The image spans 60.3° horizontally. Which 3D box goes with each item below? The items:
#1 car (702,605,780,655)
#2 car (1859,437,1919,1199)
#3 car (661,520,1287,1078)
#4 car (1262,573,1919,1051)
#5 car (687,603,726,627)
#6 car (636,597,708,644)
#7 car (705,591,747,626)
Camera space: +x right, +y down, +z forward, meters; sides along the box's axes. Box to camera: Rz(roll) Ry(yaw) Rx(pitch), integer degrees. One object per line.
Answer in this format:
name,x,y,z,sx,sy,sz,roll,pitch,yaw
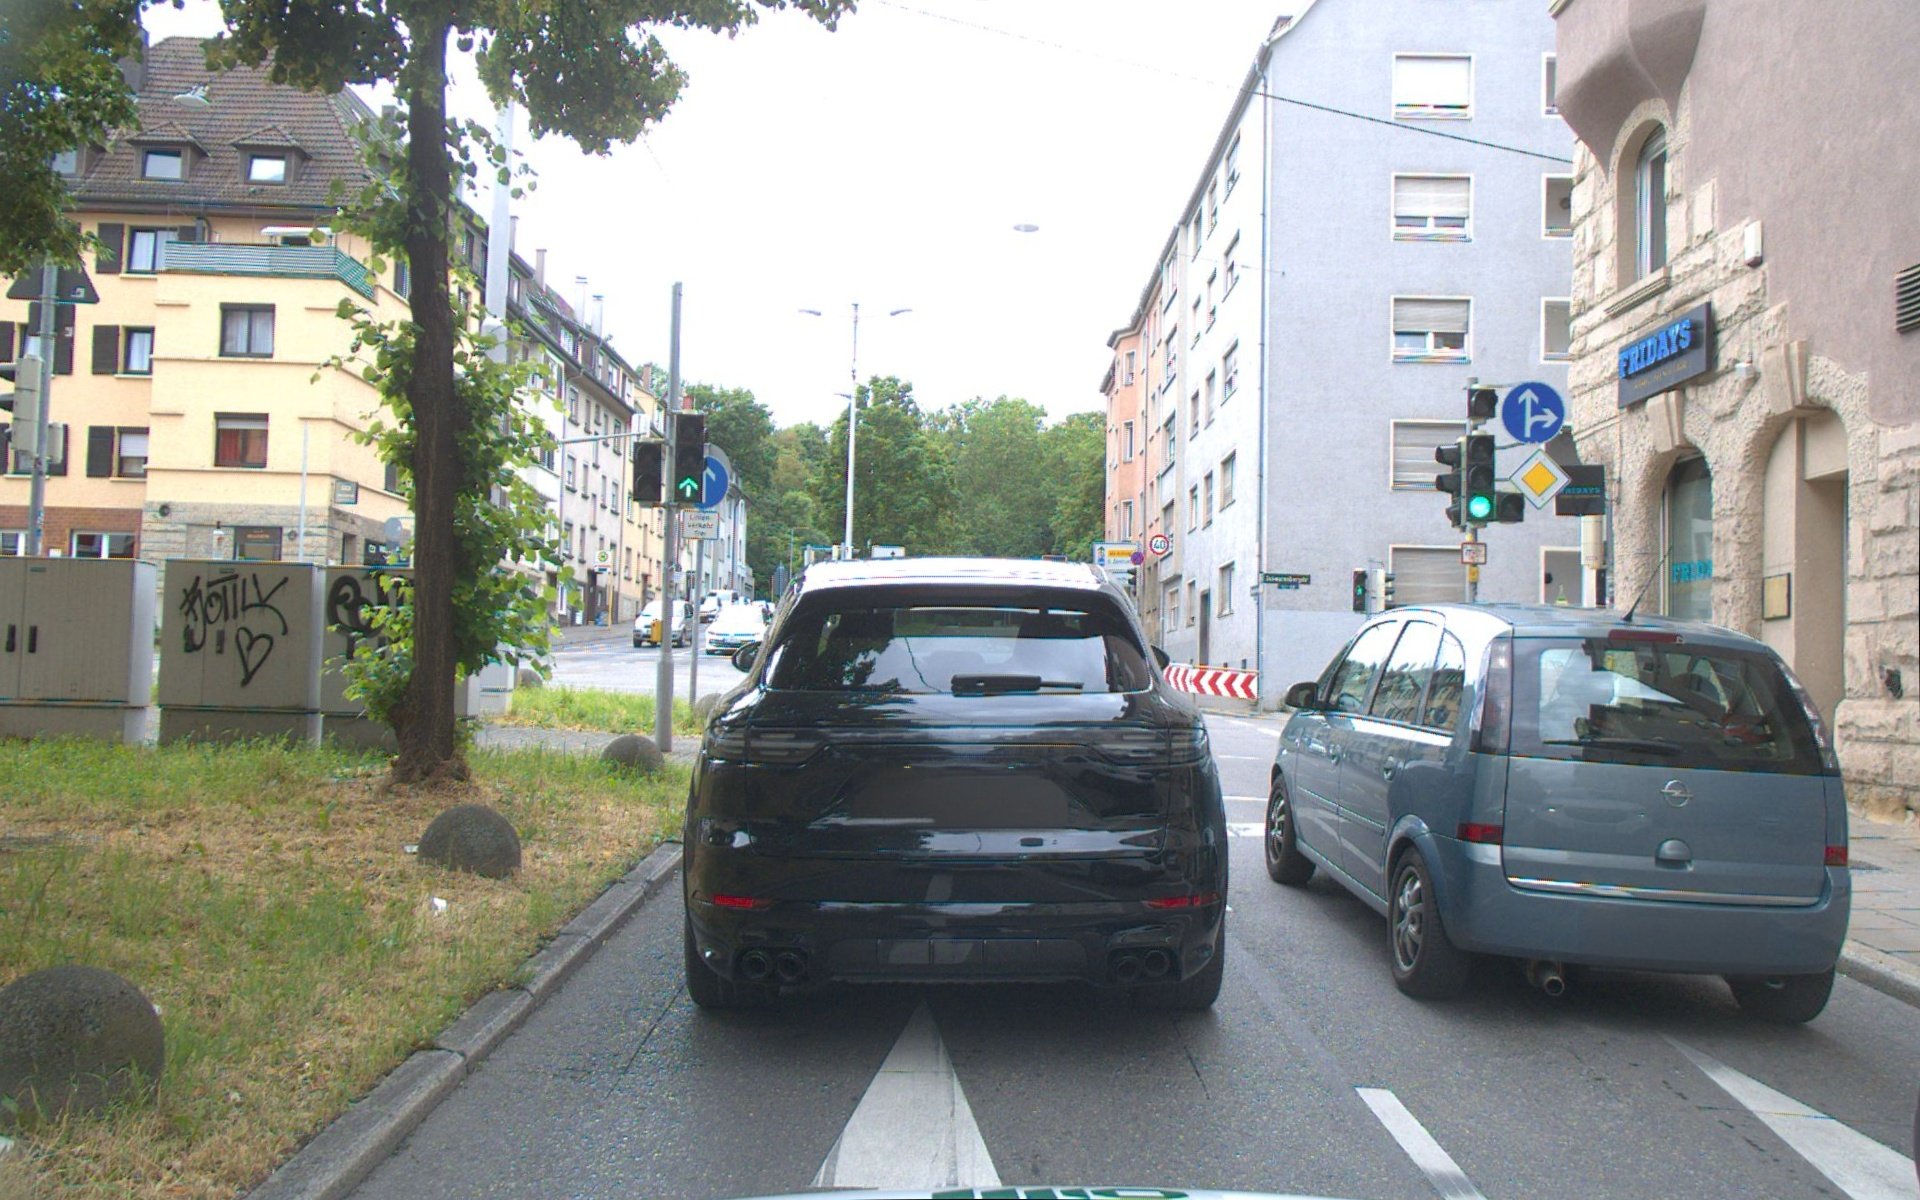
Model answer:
car,-6.627,0.888,50.385,1.824,1.412,4.094,1,0,0
car,2.909,0.644,1.049,1.936,1.806,4.674,4,0,-2
car,0.019,0.619,7.077,1.916,1.704,3.999,0,0,-1
car,2.632,0.776,7.826,1.596,1.625,3.668,4,0,-1
car,-15.077,0.887,98.550,1.703,1.411,3.813,1,0,0
car,-9.660,0.703,55.704,1.585,1.506,3.824,1,-1,3
car,-14.764,0.537,104.412,1.975,2.081,4.666,1,0,0
